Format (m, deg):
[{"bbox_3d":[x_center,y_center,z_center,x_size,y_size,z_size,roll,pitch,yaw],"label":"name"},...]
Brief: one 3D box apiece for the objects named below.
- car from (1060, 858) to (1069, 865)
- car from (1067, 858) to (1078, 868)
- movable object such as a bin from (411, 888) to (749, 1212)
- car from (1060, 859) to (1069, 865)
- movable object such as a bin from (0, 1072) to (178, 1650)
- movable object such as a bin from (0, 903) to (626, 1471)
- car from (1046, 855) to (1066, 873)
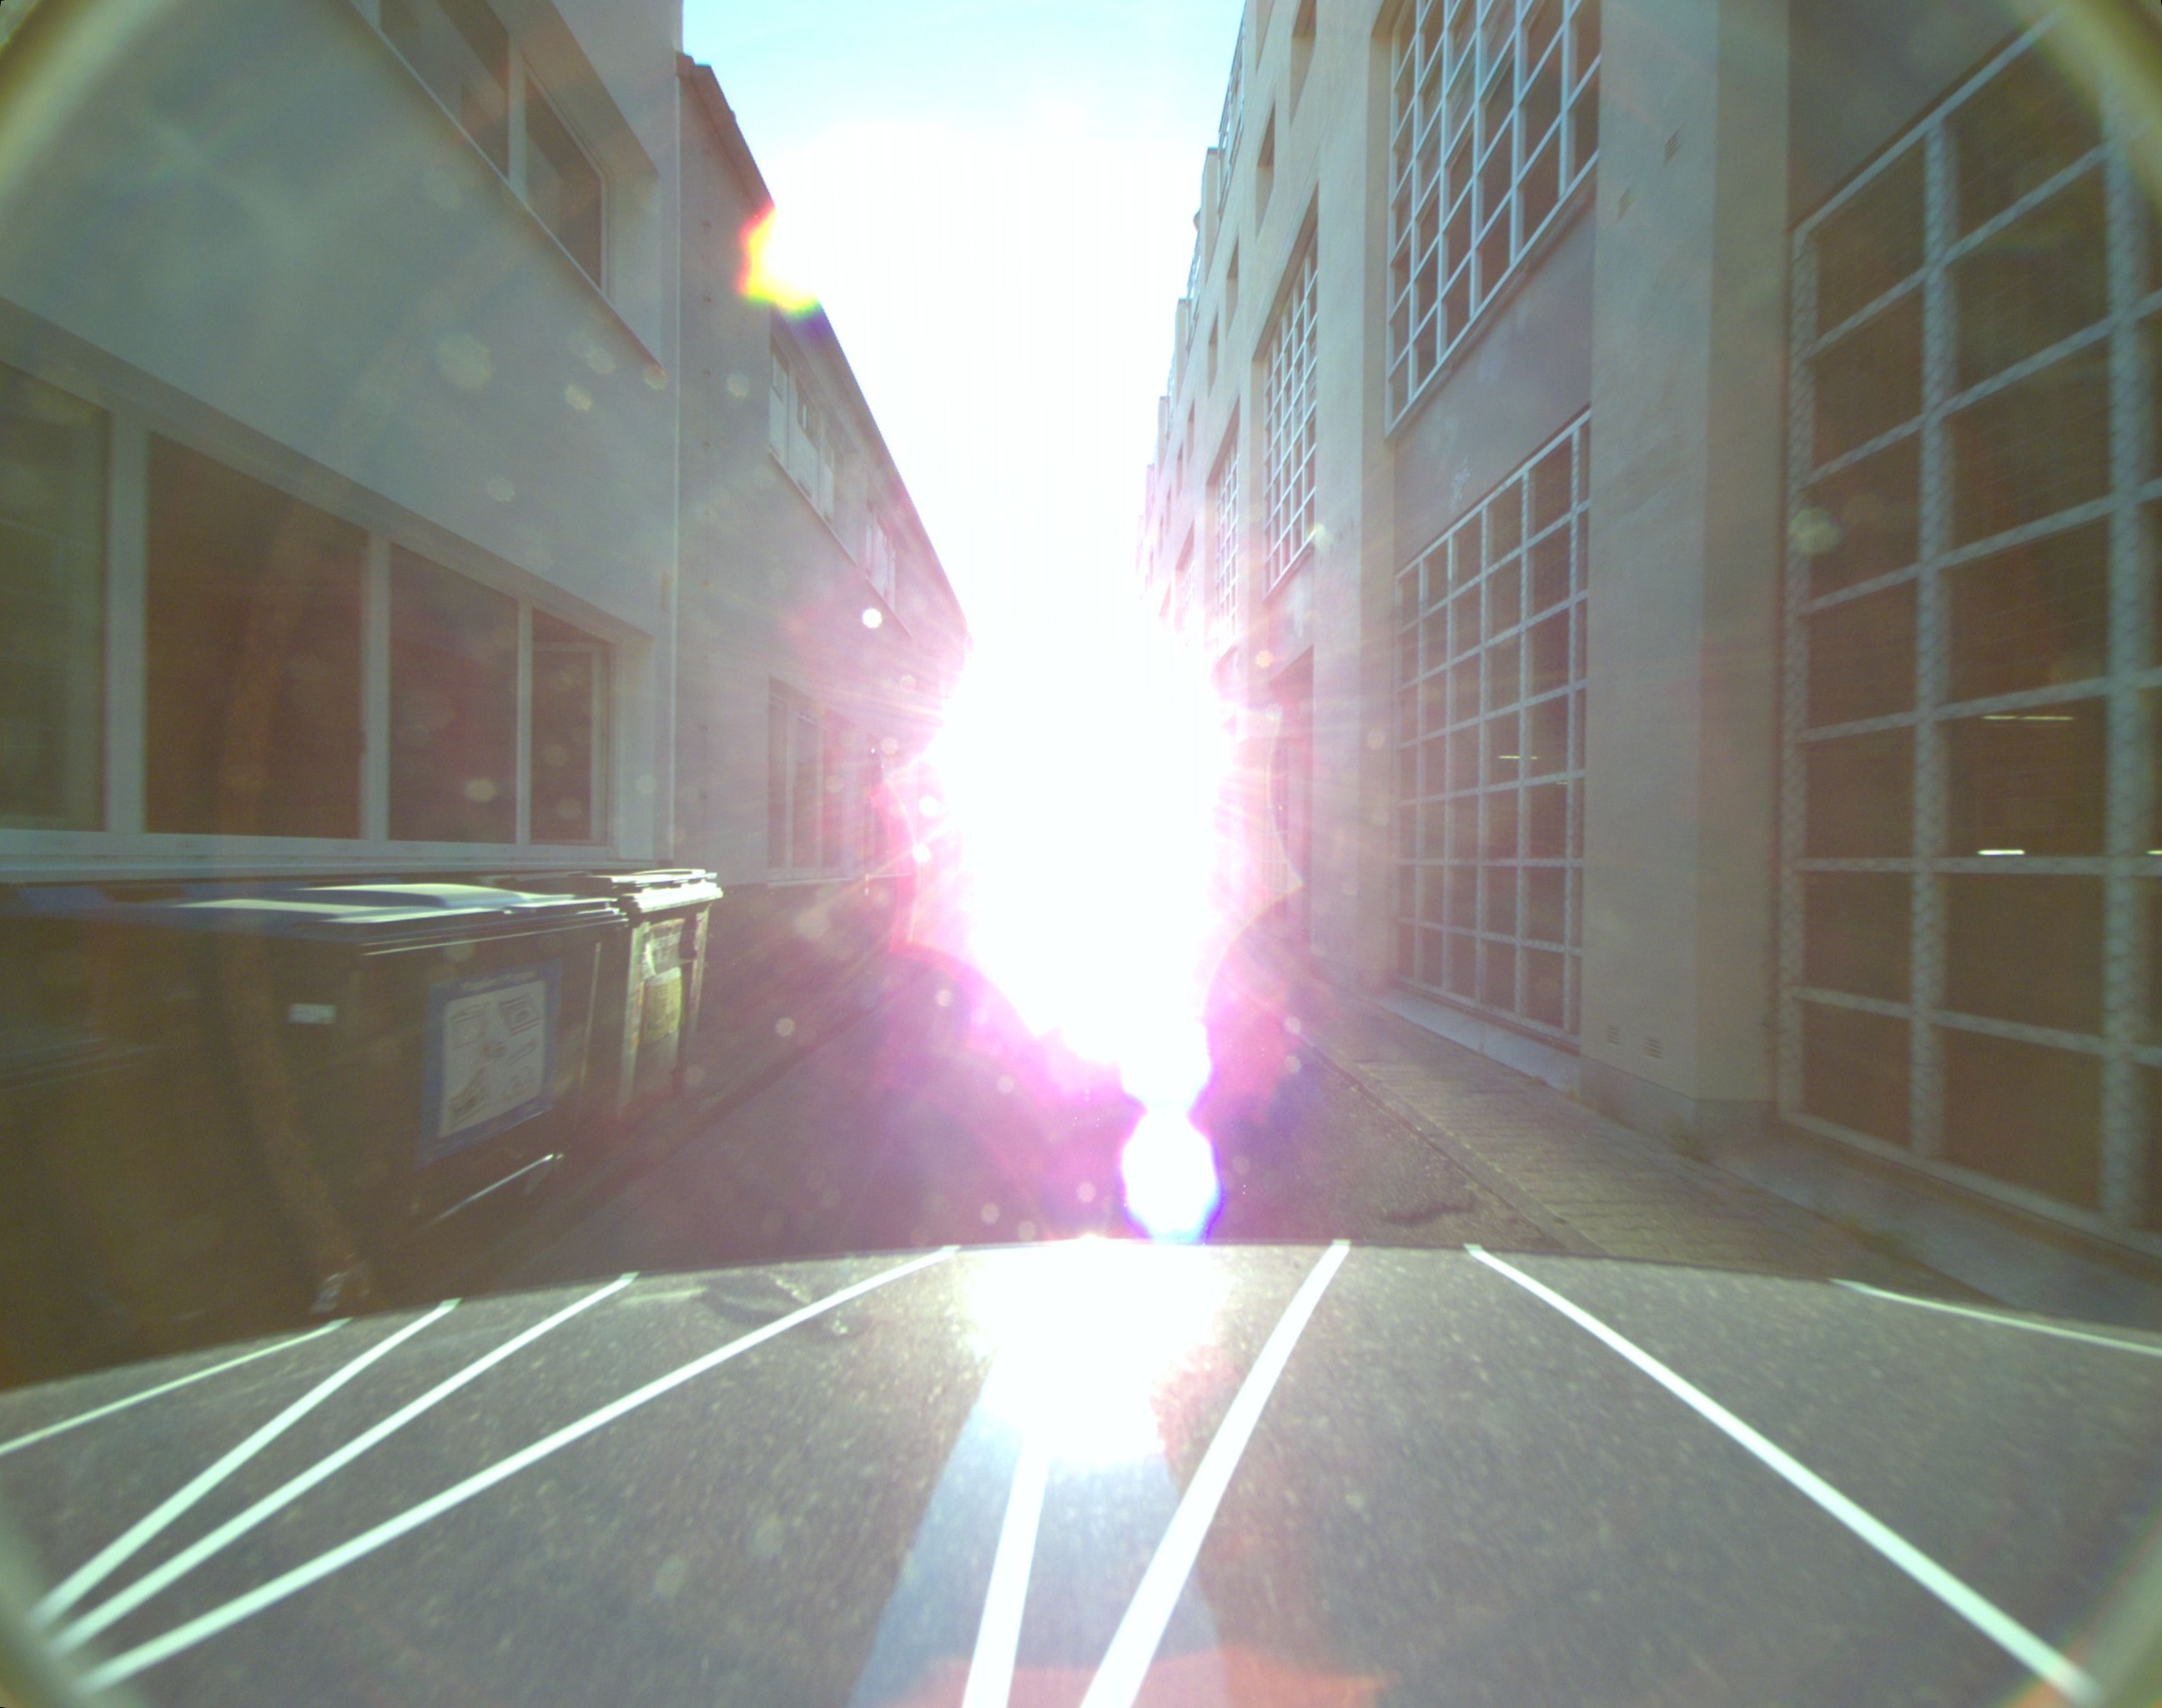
[{"bbox_3d":[-3.504,1.634,160.386,1.806,1.415,3.754,-1,0,-5],"label":"car"},{"bbox_3d":[-1.659,1.750,141.820,1.999,1.805,3.999,-1,0,-2],"label":"car"},{"bbox_3d":[-2.504,0.909,4.036,0.940,1.358,1.341,3,0,-6],"label":"movable object such as a bin"},{"bbox_3d":[-3.693,1.730,166.570,1.806,1.415,3.754,-1,0,-4],"label":"car"},{"bbox_3d":[-2.570,1.038,1.404,0.871,1.068,0.738,3,0,-2],"label":"movable object such as a bin"},{"bbox_3d":[-2.528,0.913,2.631,1.067,1.358,1.342,3,0,-2],"label":"movable object such as a bin"},{"bbox_3d":[-2.485,0.970,76.333,1.764,1.756,4.750,-1,0,0],"label":"car"}]
